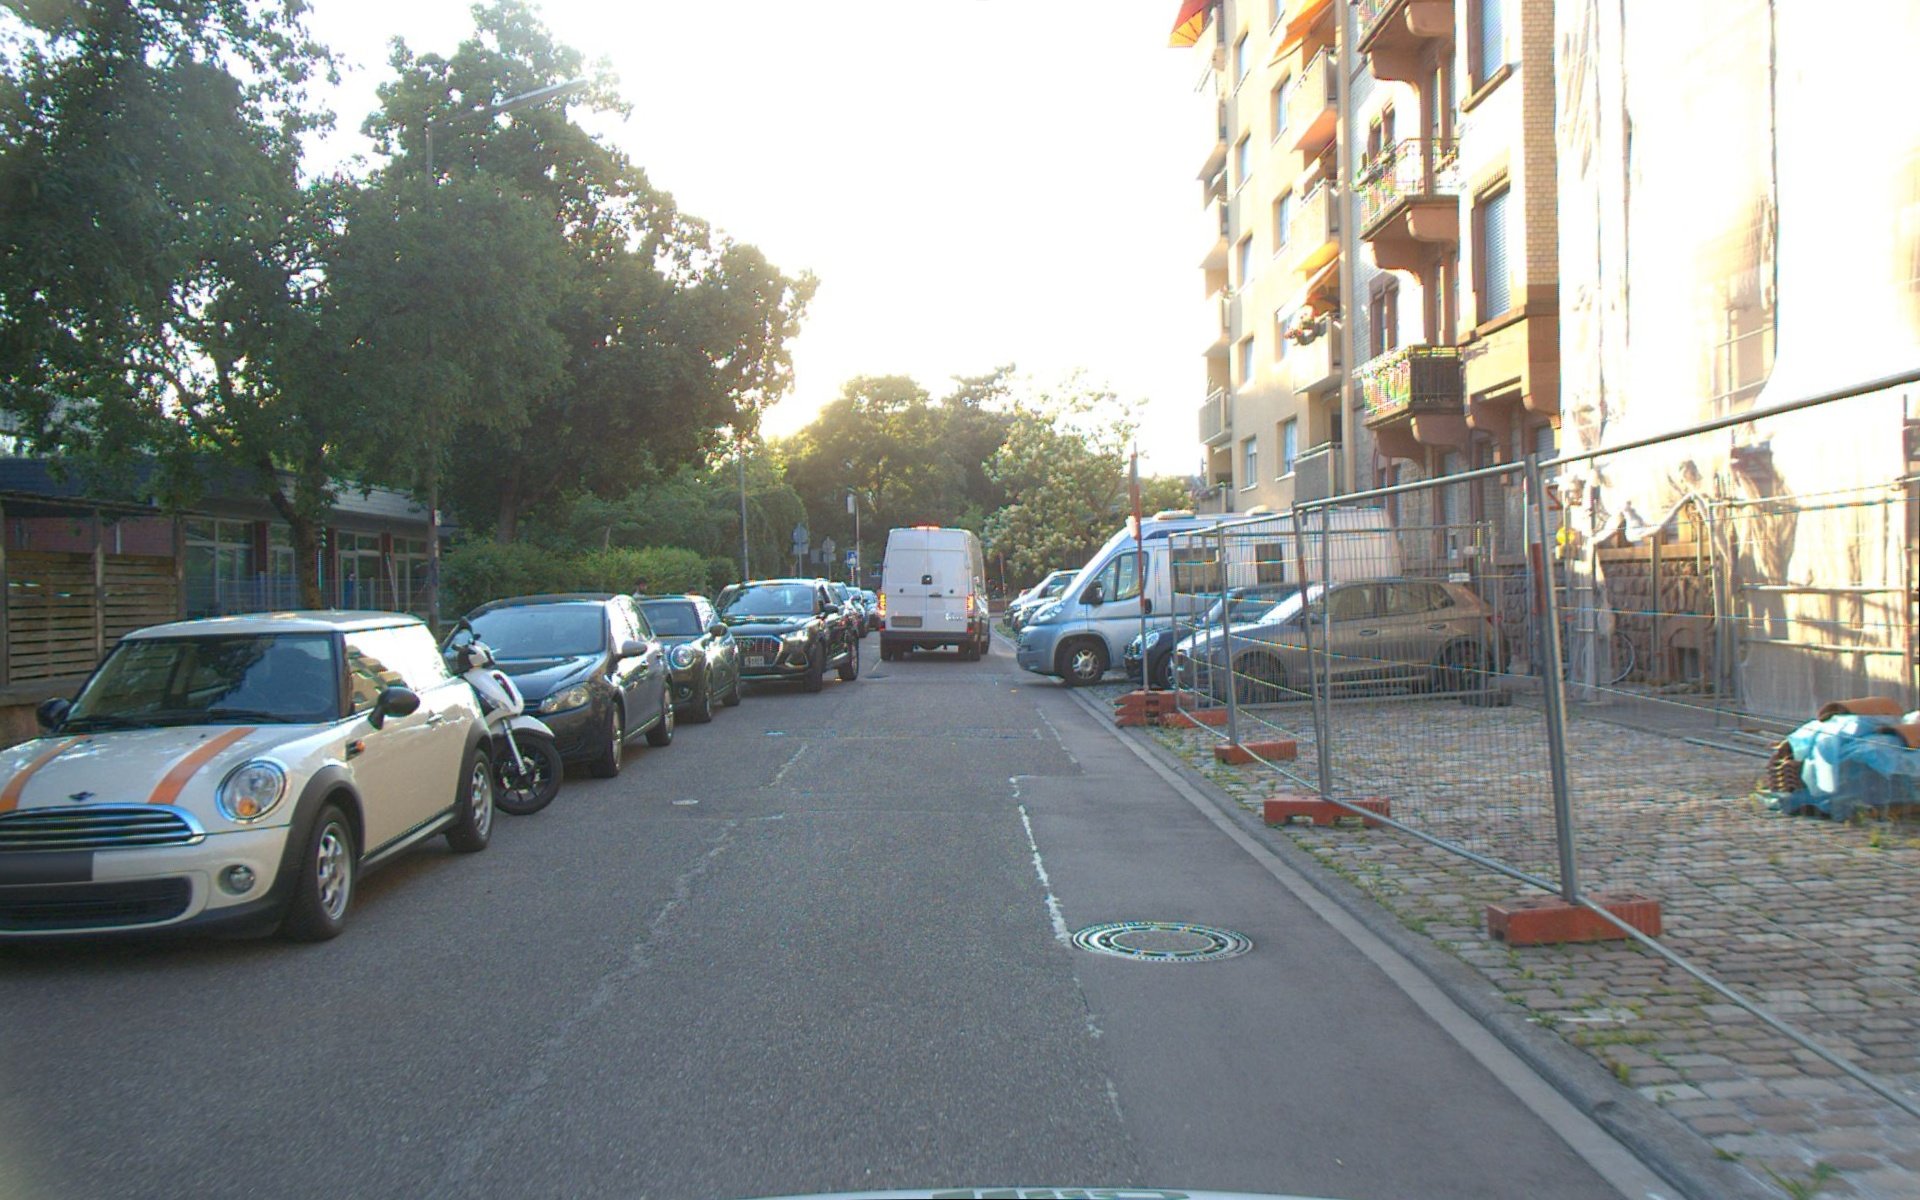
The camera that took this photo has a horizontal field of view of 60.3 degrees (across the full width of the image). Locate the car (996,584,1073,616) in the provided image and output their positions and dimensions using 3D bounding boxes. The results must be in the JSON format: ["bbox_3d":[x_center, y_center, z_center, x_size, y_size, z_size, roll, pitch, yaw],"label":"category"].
[{"bbox_3d":[3.973,-0.008,88.345,3.908,1.646,1.998,0,0,-4],"label":"car"}]

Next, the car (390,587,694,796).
[{"bbox_3d":[-3.549,0.687,14.848,1.681,1.522,4.359,-3,0,-2],"label":"car"}]

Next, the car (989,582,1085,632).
[{"bbox_3d":[3.166,0.275,68.489,3.904,2.049,2.000,0,0,1],"label":"car"}]

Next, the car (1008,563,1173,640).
[{"bbox_3d":[3.764,0.021,48.298,4.611,2.183,1.999,0,0,-2],"label":"car"}]

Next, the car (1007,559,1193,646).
[{"bbox_3d":[3.597,0.058,42.948,4.611,2.183,1.999,0,0,-2],"label":"car"}]

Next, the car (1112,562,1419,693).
[{"bbox_3d":[4.132,0.382,22.822,3.854,1.512,1.787,-3,-1,0],"label":"car"}]

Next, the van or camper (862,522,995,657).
[{"bbox_3d":[-0.547,-0.220,35.109,2.402,2.591,6.085,1,0,2],"label":"van or camper"}]

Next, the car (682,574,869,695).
[{"bbox_3d":[-2.633,0.454,24.698,1.766,1.596,4.568,-2,0,7],"label":"car"}]

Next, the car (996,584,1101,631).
[{"bbox_3d":[3.337,0.276,63.023,3.905,1.758,2.000,0,0,0],"label":"car"}]

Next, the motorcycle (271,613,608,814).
[{"bbox_3d":[-3.649,0.758,11.653,2.118,1.326,0.880,0,0,14],"label":"motorcycle"}]

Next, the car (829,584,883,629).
[{"bbox_3d":[-3.887,0.223,62.311,1.953,1.646,3.998,0,0,-2],"label":"car"}]

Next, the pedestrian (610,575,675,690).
[{"bbox_3d":[-5.186,0.521,27.037,0.919,1.862,0.786,0,0,-2],"label":"pedestrian"}]

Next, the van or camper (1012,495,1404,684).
[{"bbox_3d":[3.764,-0.168,25.863,5.809,2.818,2.109,0,0,-2],"label":"van or camper"}]

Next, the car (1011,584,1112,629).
[{"bbox_3d":[4.006,0.266,65.874,3.905,1.758,2.000,0,0,0],"label":"car"}]

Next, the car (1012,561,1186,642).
[{"bbox_3d":[3.806,0.038,45.871,4.611,2.183,1.999,0,0,-2],"label":"car"}]

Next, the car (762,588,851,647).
[{"bbox_3d":[-3.837,0.407,41.851,1.953,1.422,3.999,0,0,-1],"label":"car"}]

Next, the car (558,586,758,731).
[{"bbox_3d":[-3.537,0.626,20.016,1.603,1.504,3.992,-3,0,0],"label":"car"}]

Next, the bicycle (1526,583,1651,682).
[{"bbox_3d":[7.904,0.381,20.901,0.618,1.189,2.032,0,0,-7],"label":"bicycle"}]

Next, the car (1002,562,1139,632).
[{"bbox_3d":[3.644,-0.105,55.057,4.405,2.269,2.031,0,0,-2],"label":"car"}]

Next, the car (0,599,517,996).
[{"bbox_3d":[-3.521,0.784,8.347,1.569,1.456,3.802,-4,0,-2],"label":"car"}]

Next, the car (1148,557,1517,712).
[{"bbox_3d":[4.467,0.391,20.225,3.910,1.542,2.017,-4,0,-5],"label":"car"}]

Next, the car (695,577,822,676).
[{"bbox_3d":[-3.761,0.465,31.523,1.746,1.659,4.001,-3,0,1],"label":"car"}]

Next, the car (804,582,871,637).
[{"bbox_3d":[-3.819,0.269,52.052,1.953,1.646,3.998,0,0,-2],"label":"car"}]

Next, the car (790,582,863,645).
[{"bbox_3d":[-3.798,0.352,47.073,1.954,1.691,3.996,0,0,-5],"label":"car"}]

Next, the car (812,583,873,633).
[{"bbox_3d":[-3.987,0.260,56.591,1.953,1.646,3.998,0,0,-2],"label":"car"}]

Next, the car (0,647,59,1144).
[{"bbox_3d":[-3.434,0.855,2.682,1.625,1.336,4.154,-2,0,0],"label":"car"}]
